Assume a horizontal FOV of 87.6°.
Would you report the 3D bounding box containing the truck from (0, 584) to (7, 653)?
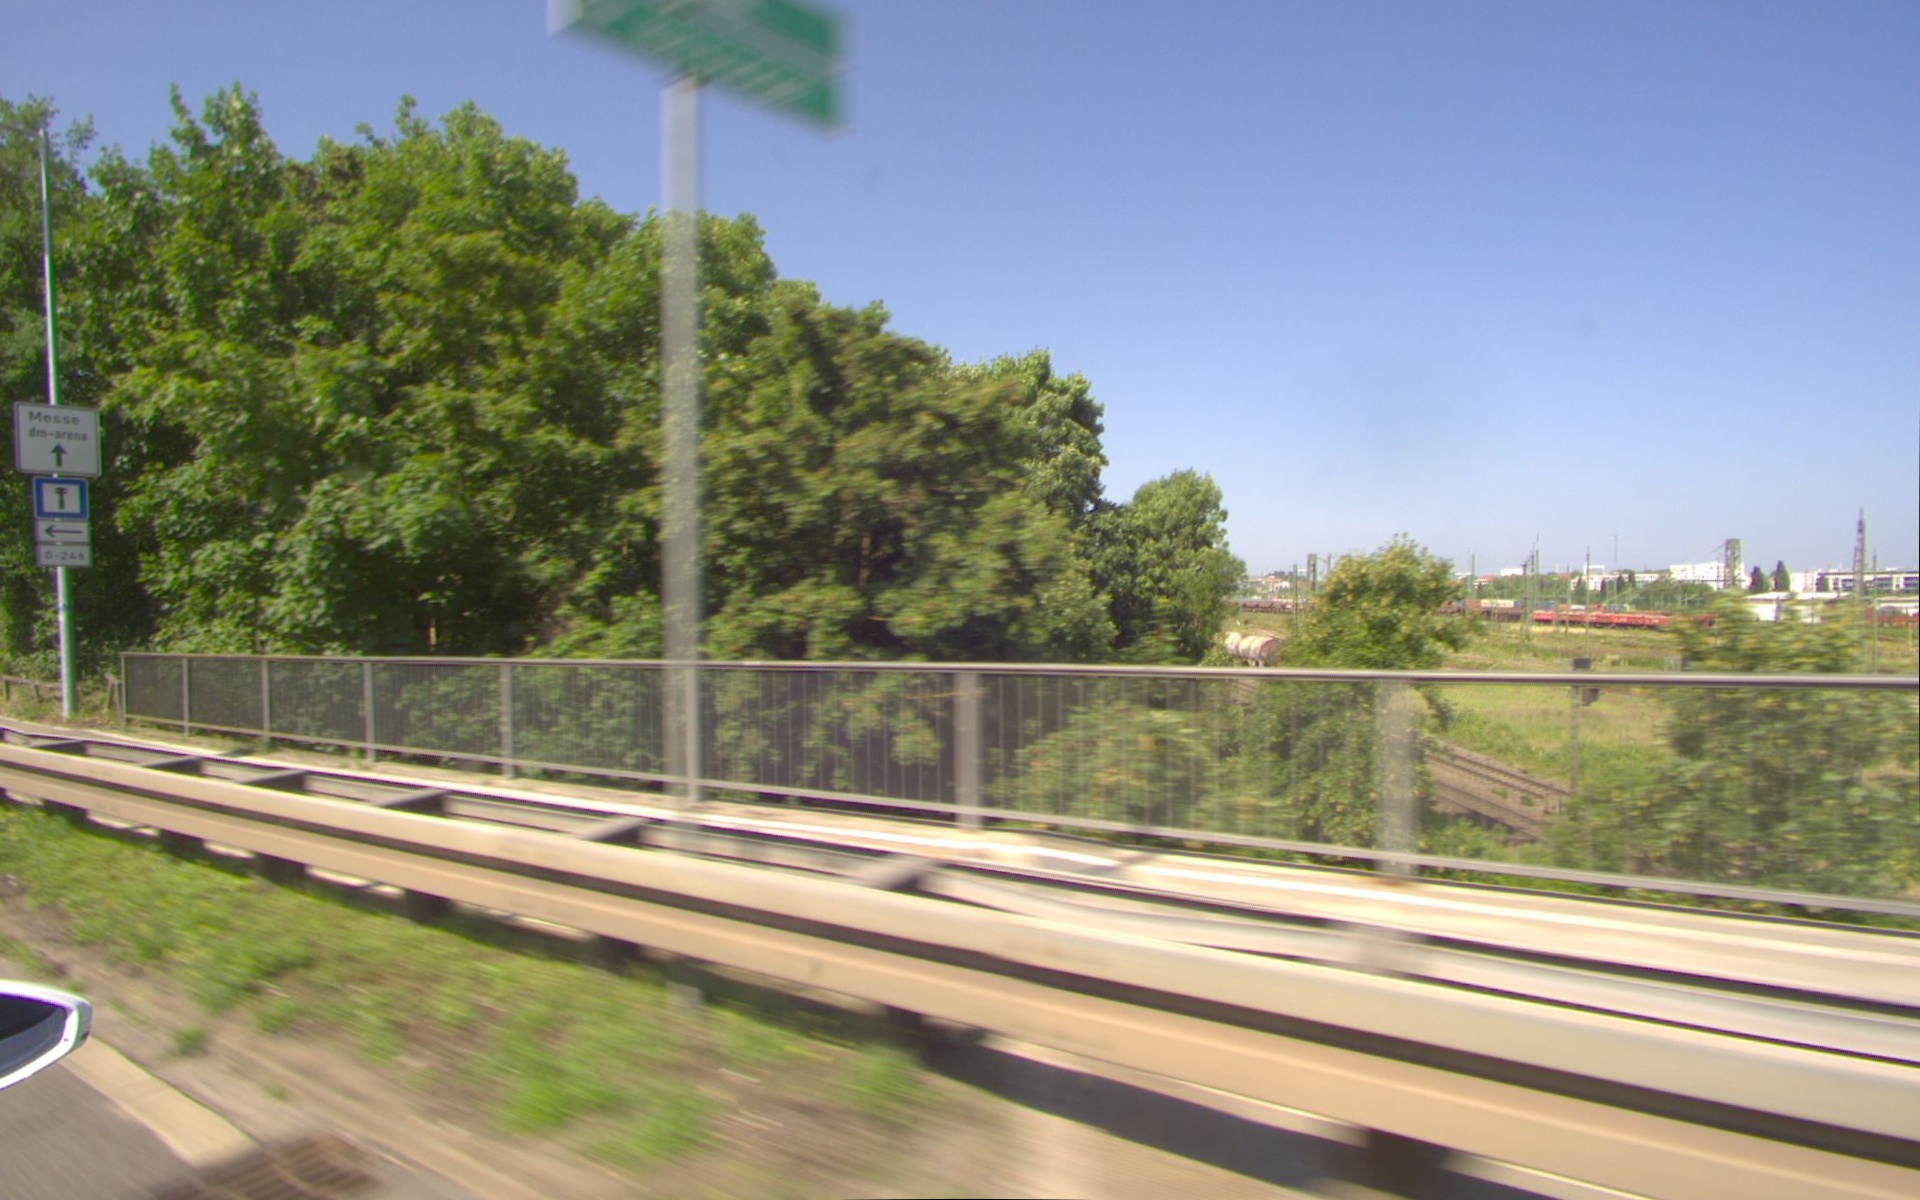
[{"bbox_3d":[-52.699,0.858,51.876,3.228,3.804,8.322,2,-3,-33],"label":"truck"}]
